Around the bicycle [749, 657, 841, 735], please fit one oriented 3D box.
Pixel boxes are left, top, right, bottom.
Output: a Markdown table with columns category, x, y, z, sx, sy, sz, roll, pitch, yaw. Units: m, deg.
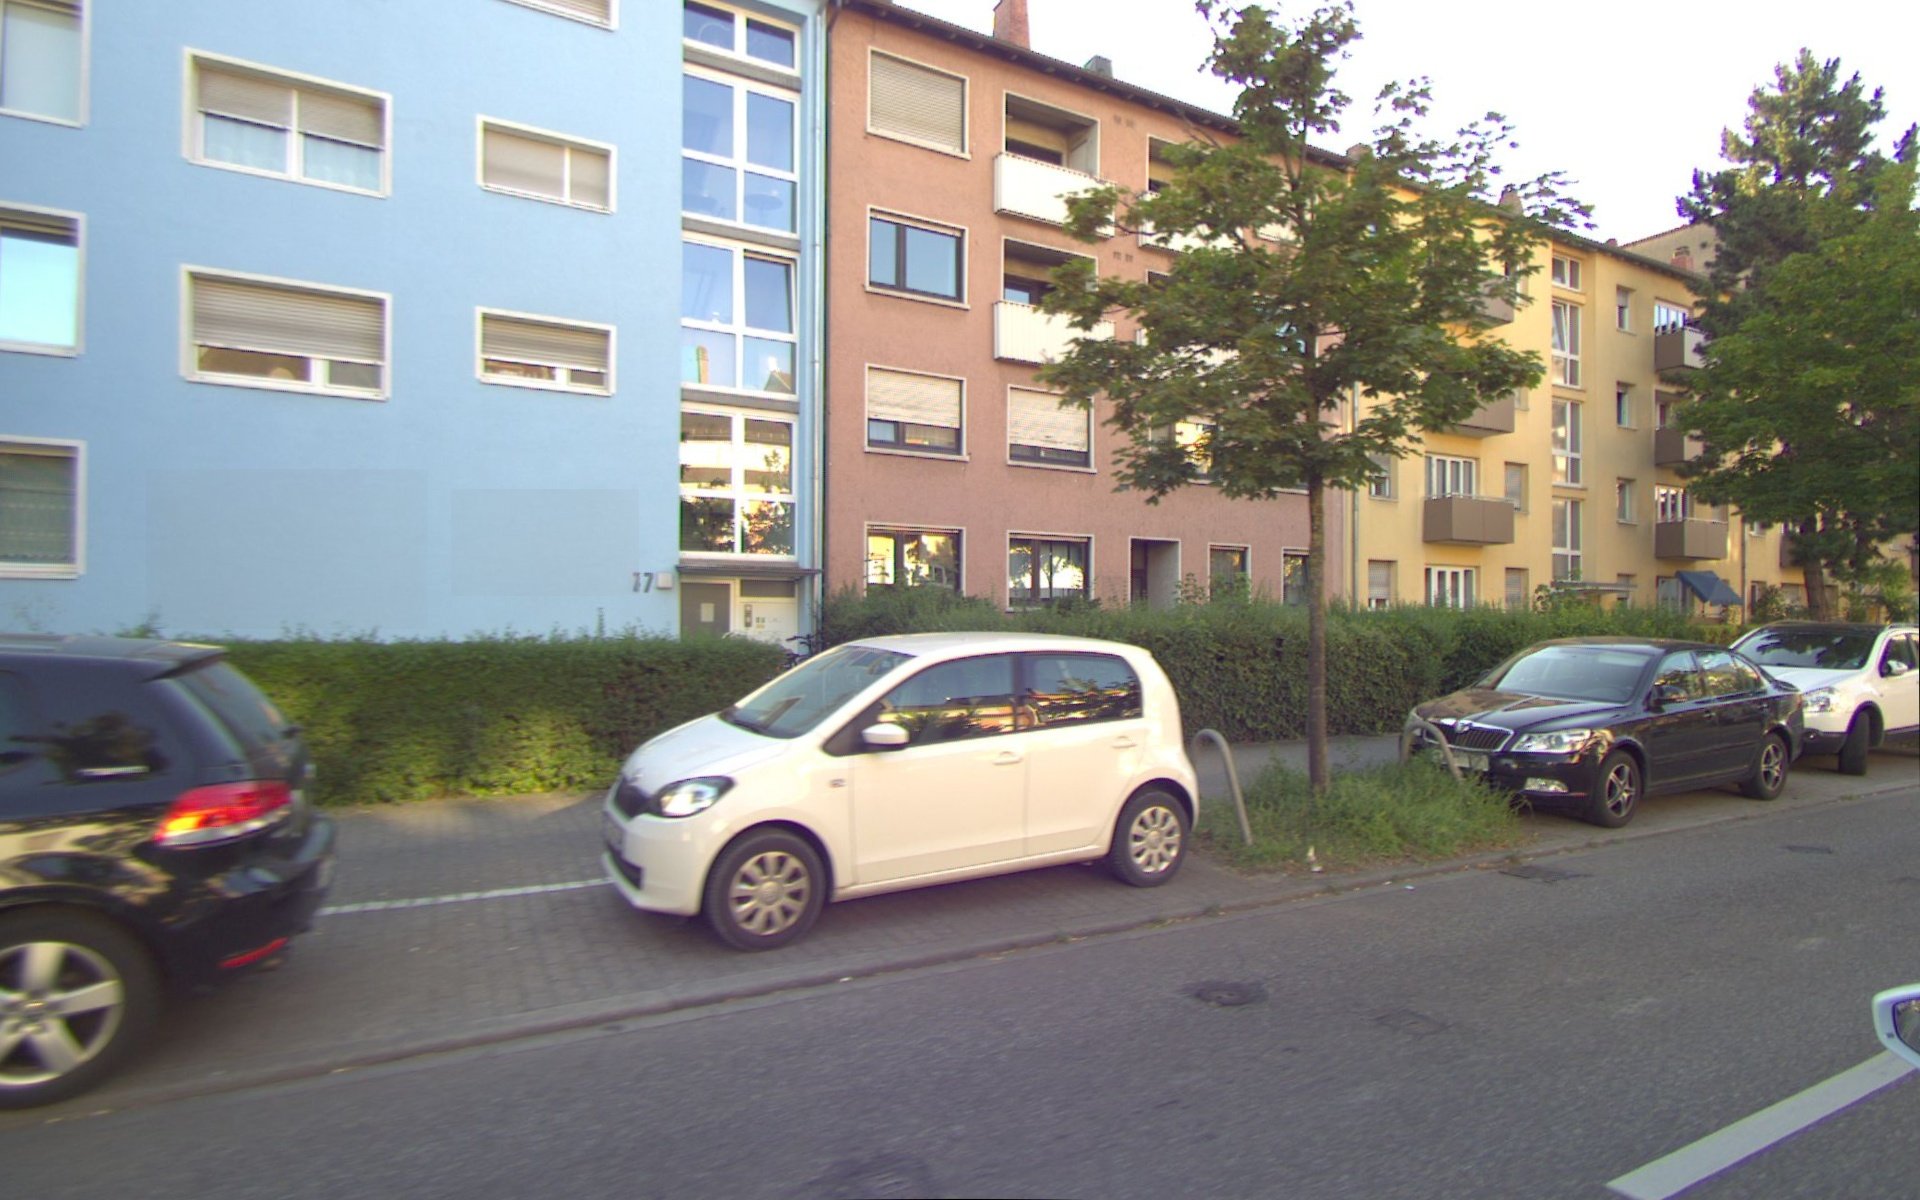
| category | x | y | z | sx | sy | sz | roll | pitch | yaw |
| --- | --- | --- | --- | --- | --- | --- | --- | --- | --- |
| bicycle | -2.444 | 1.400 | 15.032 | 0.525 | 1.064 | 1.476 | -1 | -2 | 31 |

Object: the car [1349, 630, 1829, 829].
| category | x | y | z | sx | sy | sz | roll | pitch | yaw |
| --- | --- | --- | --- | --- | --- | --- | --- | --- | --- |
| car | 5.963 | 1.027 | 9.439 | 4.405 | 1.467 | 1.985 | 1 | -2 | -30 |

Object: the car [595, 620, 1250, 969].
| category | x | y | z | sx | sy | sz | roll | pitch | yaw |
| --- | --- | --- | --- | --- | --- | --- | --- | --- | --- |
| car | -0.155 | 0.912 | 6.015 | 3.598 | 1.512 | 1.584 | 2 | -1 | -30 |

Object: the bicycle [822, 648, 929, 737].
| category | x | y | z | sx | sy | sz | roll | pitch | yaw |
| --- | --- | --- | --- | --- | --- | --- | --- | --- | --- |
| bicycle | -1.080 | 1.170 | 13.098 | 0.526 | 1.064 | 1.473 | -1 | -2 | 38 |

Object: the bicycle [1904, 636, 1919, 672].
| category | x | y | z | sx | sy | sz | roll | pitch | yaw |
| --- | --- | --- | --- | --- | --- | --- | --- | --- | --- |
| bicycle | 26.149 | 1.461 | 26.345 | 0.575 | 0.938 | 1.928 | 1 | 1 | -27 |

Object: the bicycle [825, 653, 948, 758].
| category | x | y | z | sx | sy | sz | roll | pitch | yaw |
| --- | --- | --- | --- | --- | --- | --- | --- | --- | --- |
| bicycle | -0.802 | 1.158 | 11.372 | 0.526 | 1.064 | 1.472 | -1 | -2 | 39 |

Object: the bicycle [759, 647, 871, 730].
| category | x | y | z | sx | sy | sz | roll | pitch | yaw |
| --- | --- | --- | --- | --- | --- | --- | --- | --- | --- |
| bicycle | -1.996 | 1.199 | 13.935 | 1.464 | 1.064 | 0.529 | 1 | -1 | -35 |

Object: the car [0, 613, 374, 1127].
| category | x | y | z | sx | sy | sz | roll | pitch | yaw |
| --- | --- | --- | --- | --- | --- | --- | --- | --- | --- |
| car | -4.453 | 0.825 | 3.297 | 4.261 | 1.538 | 1.830 | 1 | 0 | -28 |

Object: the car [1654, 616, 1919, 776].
| category | x | y | z | sx | sy | sz | roll | pitch | yaw |
| --- | --- | --- | --- | --- | --- | --- | --- | --- | --- |
| car | 10.375 | 1.021 | 12.006 | 4.134 | 1.609 | 1.769 | 1 | 0 | -29 |
